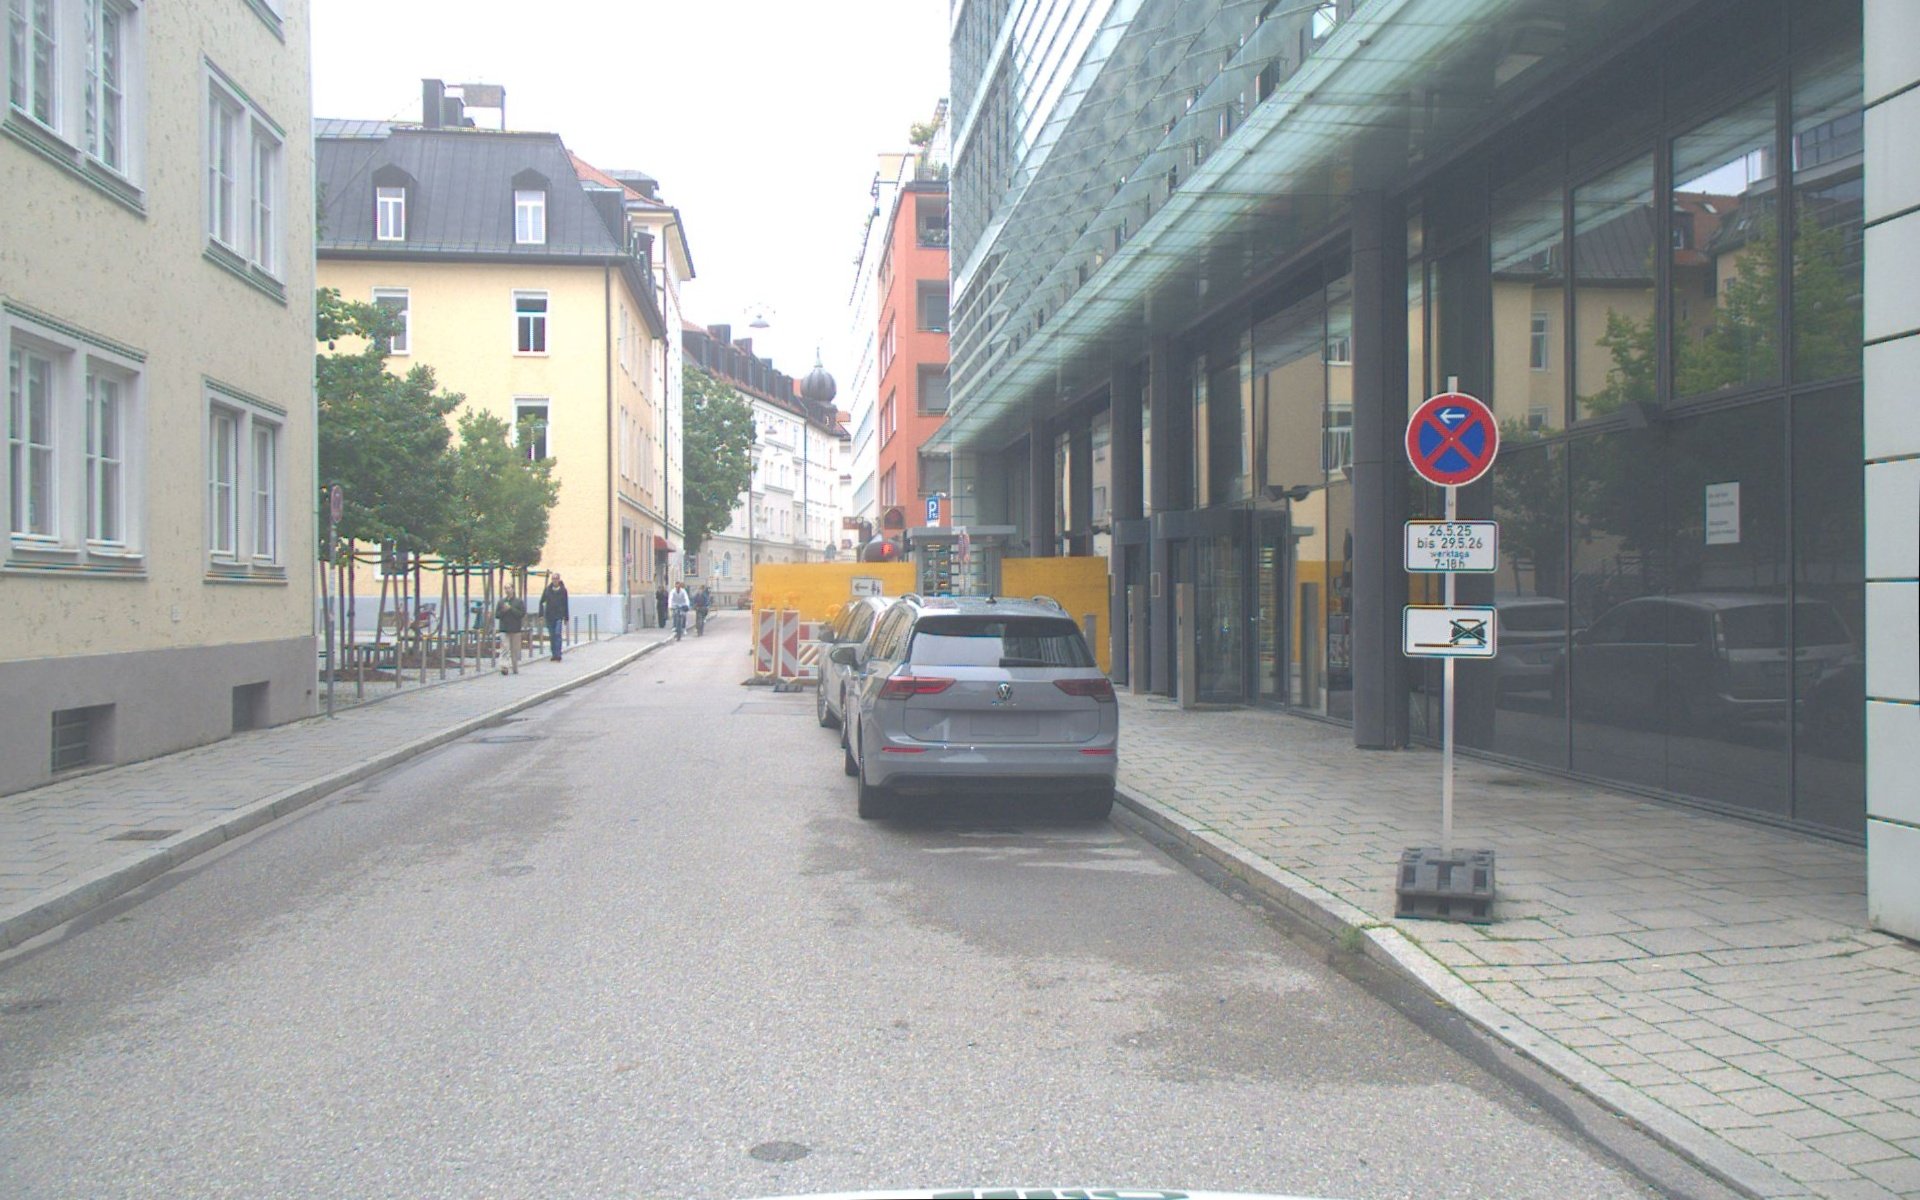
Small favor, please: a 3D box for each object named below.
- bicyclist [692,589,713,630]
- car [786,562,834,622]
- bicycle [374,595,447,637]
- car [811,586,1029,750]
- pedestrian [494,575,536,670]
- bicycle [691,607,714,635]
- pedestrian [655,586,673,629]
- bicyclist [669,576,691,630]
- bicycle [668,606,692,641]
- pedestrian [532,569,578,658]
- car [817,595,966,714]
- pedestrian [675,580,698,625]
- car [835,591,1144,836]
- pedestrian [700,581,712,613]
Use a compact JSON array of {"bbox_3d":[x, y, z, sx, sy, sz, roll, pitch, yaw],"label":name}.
[{"bbox_3d":[-8.855,0.332,56.914,0.694,1.395,0.812,-1,0,-7],"label":"bicyclist"},{"bbox_3d":[-6.775,-0.371,74.274,1.956,2.581,4.967,0,0,-7],"label":"car"},{"bbox_3d":[-16.542,0.475,49.825,2.001,1.218,0.570,0,0,0],"label":"bicycle"},{"bbox_3d":[-0.547,0.641,17.406,1.676,1.493,4.227,1,0,-10],"label":"car"},{"bbox_3d":[-8.124,0.408,30.214,0.635,1.706,0.722,1,0,-8],"label":"pedestrian"},{"bbox_3d":[-8.847,0.715,56.841,0.694,0.921,1.807,-1,0,-7],"label":"bicycle"},{"bbox_3d":[-11.444,0.287,63.973,0.657,1.677,0.760,1,0,-7],"label":"pedestrian"},{"bbox_3d":[-8.875,0.097,52.447,0.647,1.671,0.894,-1,0,-7],"label":"bicyclist"},{"bbox_3d":[-8.872,0.742,52.440,0.648,1.057,2.001,-1,0,-7],"label":"bicycle"},{"bbox_3d":[-8.904,0.296,36.376,0.851,1.914,1.133,1,0,-8],"label":"pedestrian"},{"bbox_3d":[-1.032,0.677,22.537,1.675,1.439,4.503,1,0,-7],"label":"car"},{"bbox_3d":[-10.557,0.111,63.940,0.823,1.730,0.801,1,0,-7],"label":"pedestrian"},{"bbox_3d":[0.028,0.676,12.150,1.675,1.457,4.322,0,0,-7],"label":"car"},{"bbox_3d":[-13.495,-0.162,87.811,0.622,1.704,0.517,0,0,-7],"label":"pedestrian"}]
